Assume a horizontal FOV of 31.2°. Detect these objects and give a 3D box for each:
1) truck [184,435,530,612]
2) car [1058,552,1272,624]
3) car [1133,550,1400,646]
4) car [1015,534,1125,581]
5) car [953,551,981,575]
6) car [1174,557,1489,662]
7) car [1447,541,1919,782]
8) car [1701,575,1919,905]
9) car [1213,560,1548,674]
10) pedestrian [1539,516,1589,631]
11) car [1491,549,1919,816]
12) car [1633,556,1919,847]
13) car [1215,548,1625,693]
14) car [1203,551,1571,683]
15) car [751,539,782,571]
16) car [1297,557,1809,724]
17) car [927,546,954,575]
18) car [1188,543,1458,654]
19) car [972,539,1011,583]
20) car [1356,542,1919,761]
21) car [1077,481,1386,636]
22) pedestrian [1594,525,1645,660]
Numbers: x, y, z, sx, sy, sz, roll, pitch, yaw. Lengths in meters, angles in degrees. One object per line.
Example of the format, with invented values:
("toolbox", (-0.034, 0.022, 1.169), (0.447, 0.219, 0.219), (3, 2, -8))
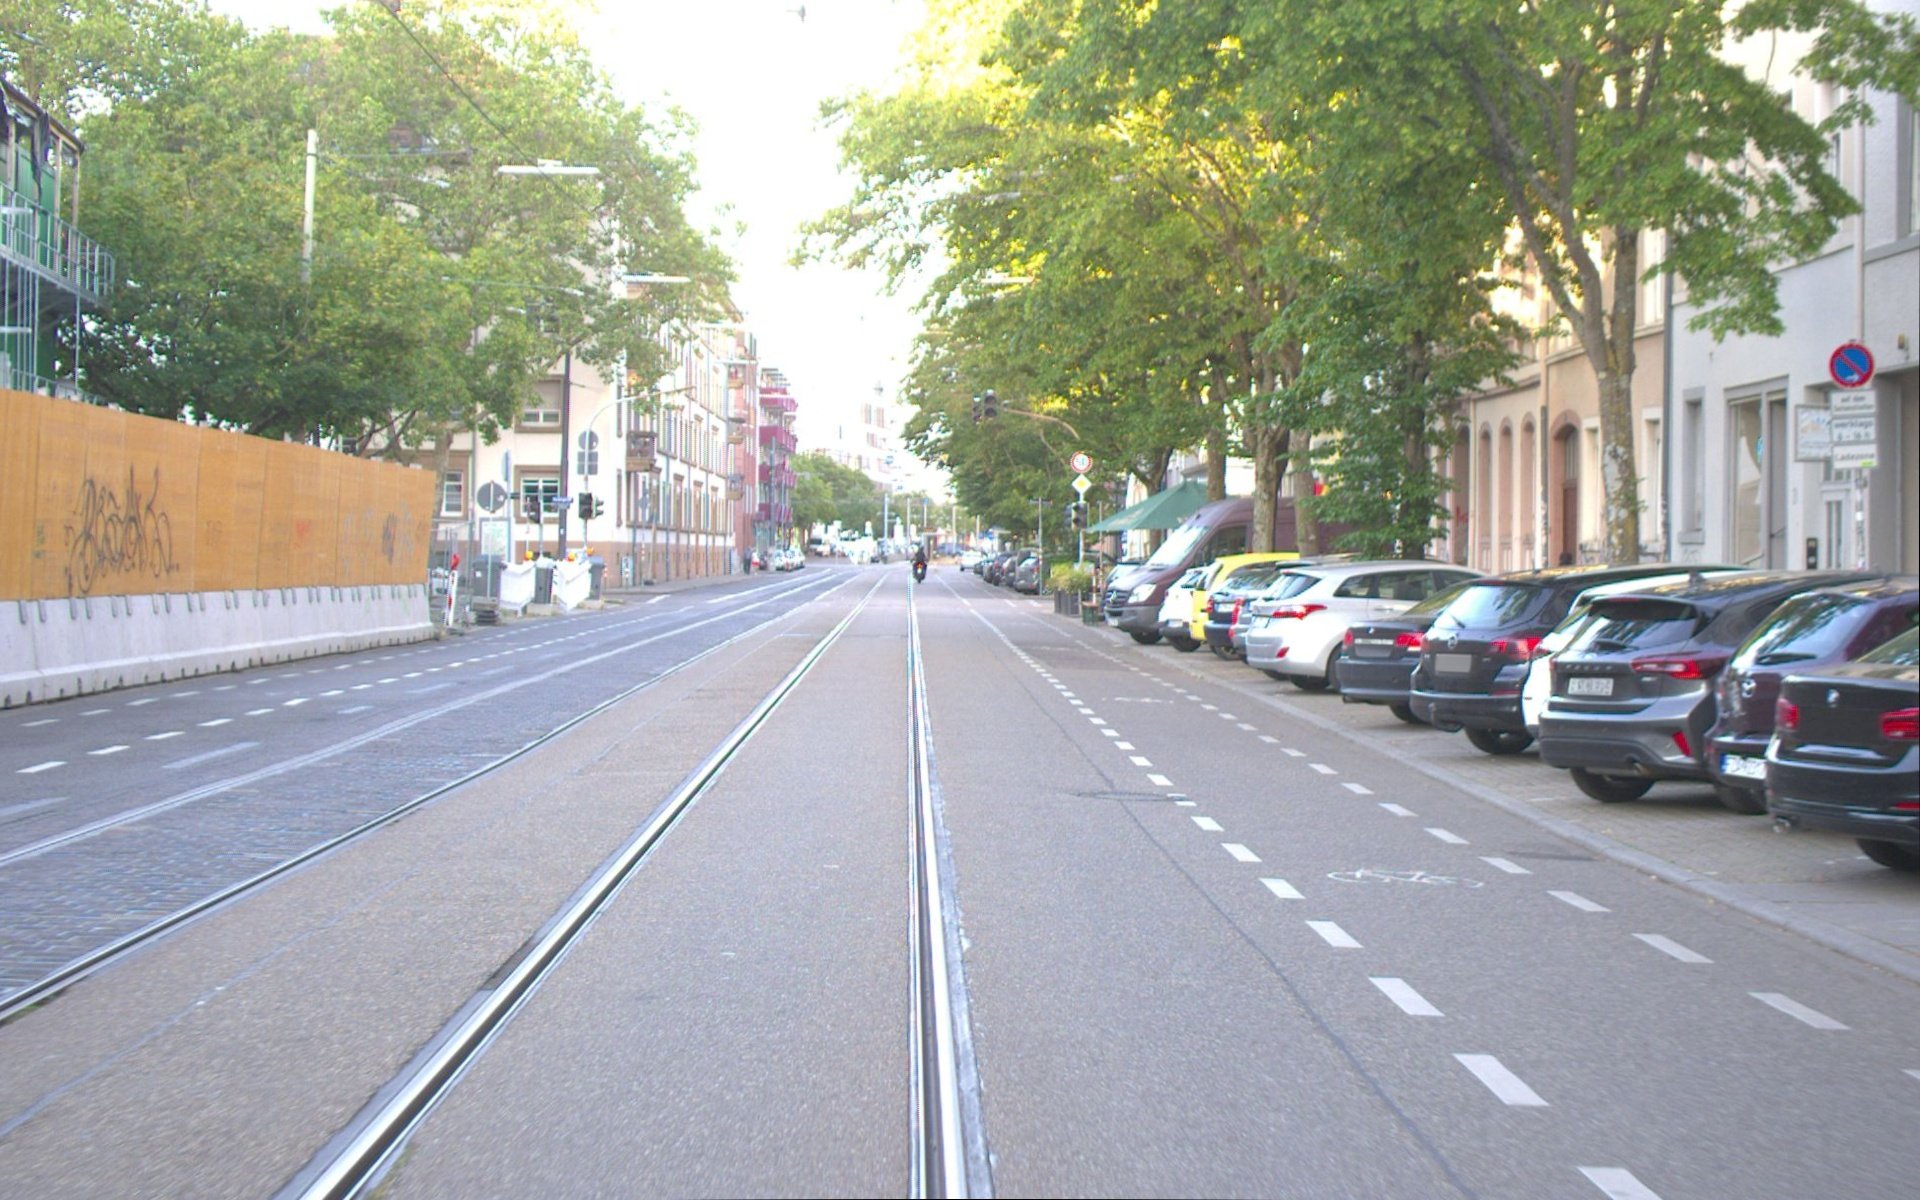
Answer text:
("truck", (-13.045, -1.668, 74.827), (7.056, 3.469, 2.542), (3, 1, -4))
("car", (4.462, -0.266, 74.841), (4.174, 1.493, 2.009), (-1, 0, -25))
("car", (5.075, -0.037, 57.002), (3.949, 1.481, 1.921), (-1, 0, -24))
("car", (3.958, -1.539, 124.074), (3.887, 1.587, 1.861), (2, 1, 1))
("car", (0.531, -2.798, 259.552), (1.963, 1.713, 4.000), (1, 1, -1))
("car", (5.387, 0.123, 49.862), (4.120, 1.420, 1.921), (-1, 0, -26))
("car", (5.810, 0.384, 24.697), (4.115, 1.465, 1.987), (-3, 1, -25))
("car", (5.973, 0.557, 16.925), (4.160, 1.421, 1.824), (-3, 1, -19))
("car", (5.703, 0.211, 46.606), (4.120, 1.420, 1.898), (-1, 0, -26))
("pedestrian", (8.252, -0.362, 46.989), (0.538, 1.563, 0.813), (0, 1, 1))
("car", (5.693, 0.450, 22.089), (4.115, 1.465, 1.824), (-3, 1, -23))
("car", (6.140, 0.476, 19.709), (3.948, 1.465, 2.002), (-3, 1, -17))
("car", (5.287, 0.213, 39.768), (4.249, 1.543, 2.020), (-1, 1, -11))
("car", (5.431, 0.197, 43.750), (4.249, 1.555, 1.898), (-1, 0, -23))
("car", (-13.137, -3.062, 233.981), (1.898, 2.171, 4.000), (1, 1, -1))
("car", (5.477, 0.339, 31.780), (4.249, 1.387, 2.016), (-1, 1, -24))
("car", (-1.444, -2.854, 248.889), (1.898, 2.007, 4.000), (1, 1, -1))
("car", (5.596, -0.029, 53.299), (3.950, 1.614, 1.921), (-1, 0, 0))
("car", (1.462, -1.853, 162.669), (1.721, 2.007, 4.000), (1, 1, -1))
("car", (5.463, 0.364, 27.288), (4.115, 1.465, 2.016), (-3, 1, -25))
("car", (4.862, -0.759, 61.697), (5.093, 2.633, 2.022), (-2, 1, -17))
("pedestrian", (8.927, -0.106, 46.541), (0.565, 1.808, 0.607), (0, 1, 2))
